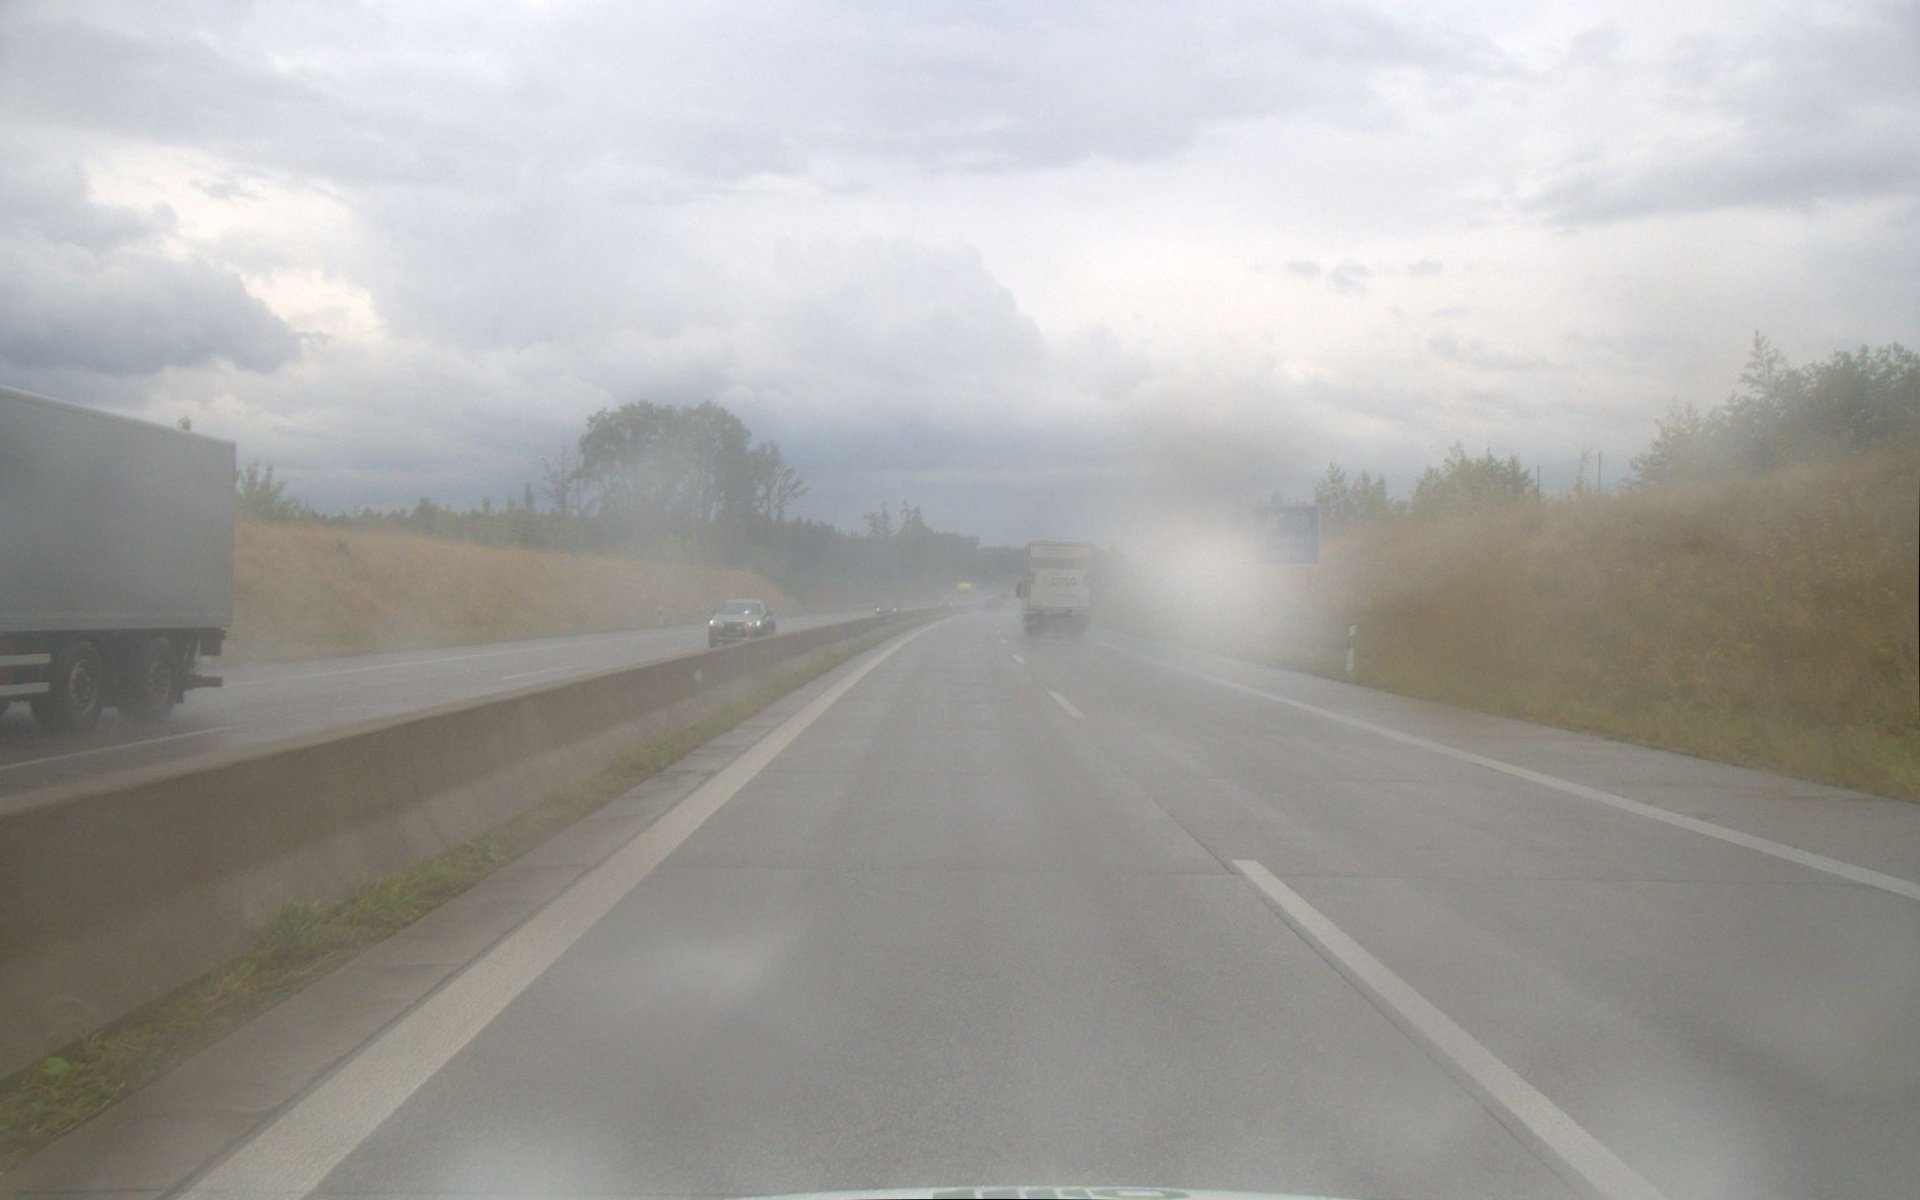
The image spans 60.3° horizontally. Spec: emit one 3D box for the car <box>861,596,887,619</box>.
[{"bbox_3d":[-6.176,0.502,118.557,1.590,1.453,4.001,-2,2,0],"label":"car"}]

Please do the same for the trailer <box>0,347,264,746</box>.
[{"bbox_3d":[-10.871,-0.567,17.915,2.845,3.907,9.357,1,1,-1],"label":"trailer"}]

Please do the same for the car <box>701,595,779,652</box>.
[{"bbox_3d":[-7.115,0.726,53.947,1.953,1.545,4.189,-2,2,0],"label":"car"}]

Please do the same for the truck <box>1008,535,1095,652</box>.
[{"bbox_3d":[3.681,-0.330,68.452,3.177,4.514,8.247,0,1,0],"label":"truck"}]
